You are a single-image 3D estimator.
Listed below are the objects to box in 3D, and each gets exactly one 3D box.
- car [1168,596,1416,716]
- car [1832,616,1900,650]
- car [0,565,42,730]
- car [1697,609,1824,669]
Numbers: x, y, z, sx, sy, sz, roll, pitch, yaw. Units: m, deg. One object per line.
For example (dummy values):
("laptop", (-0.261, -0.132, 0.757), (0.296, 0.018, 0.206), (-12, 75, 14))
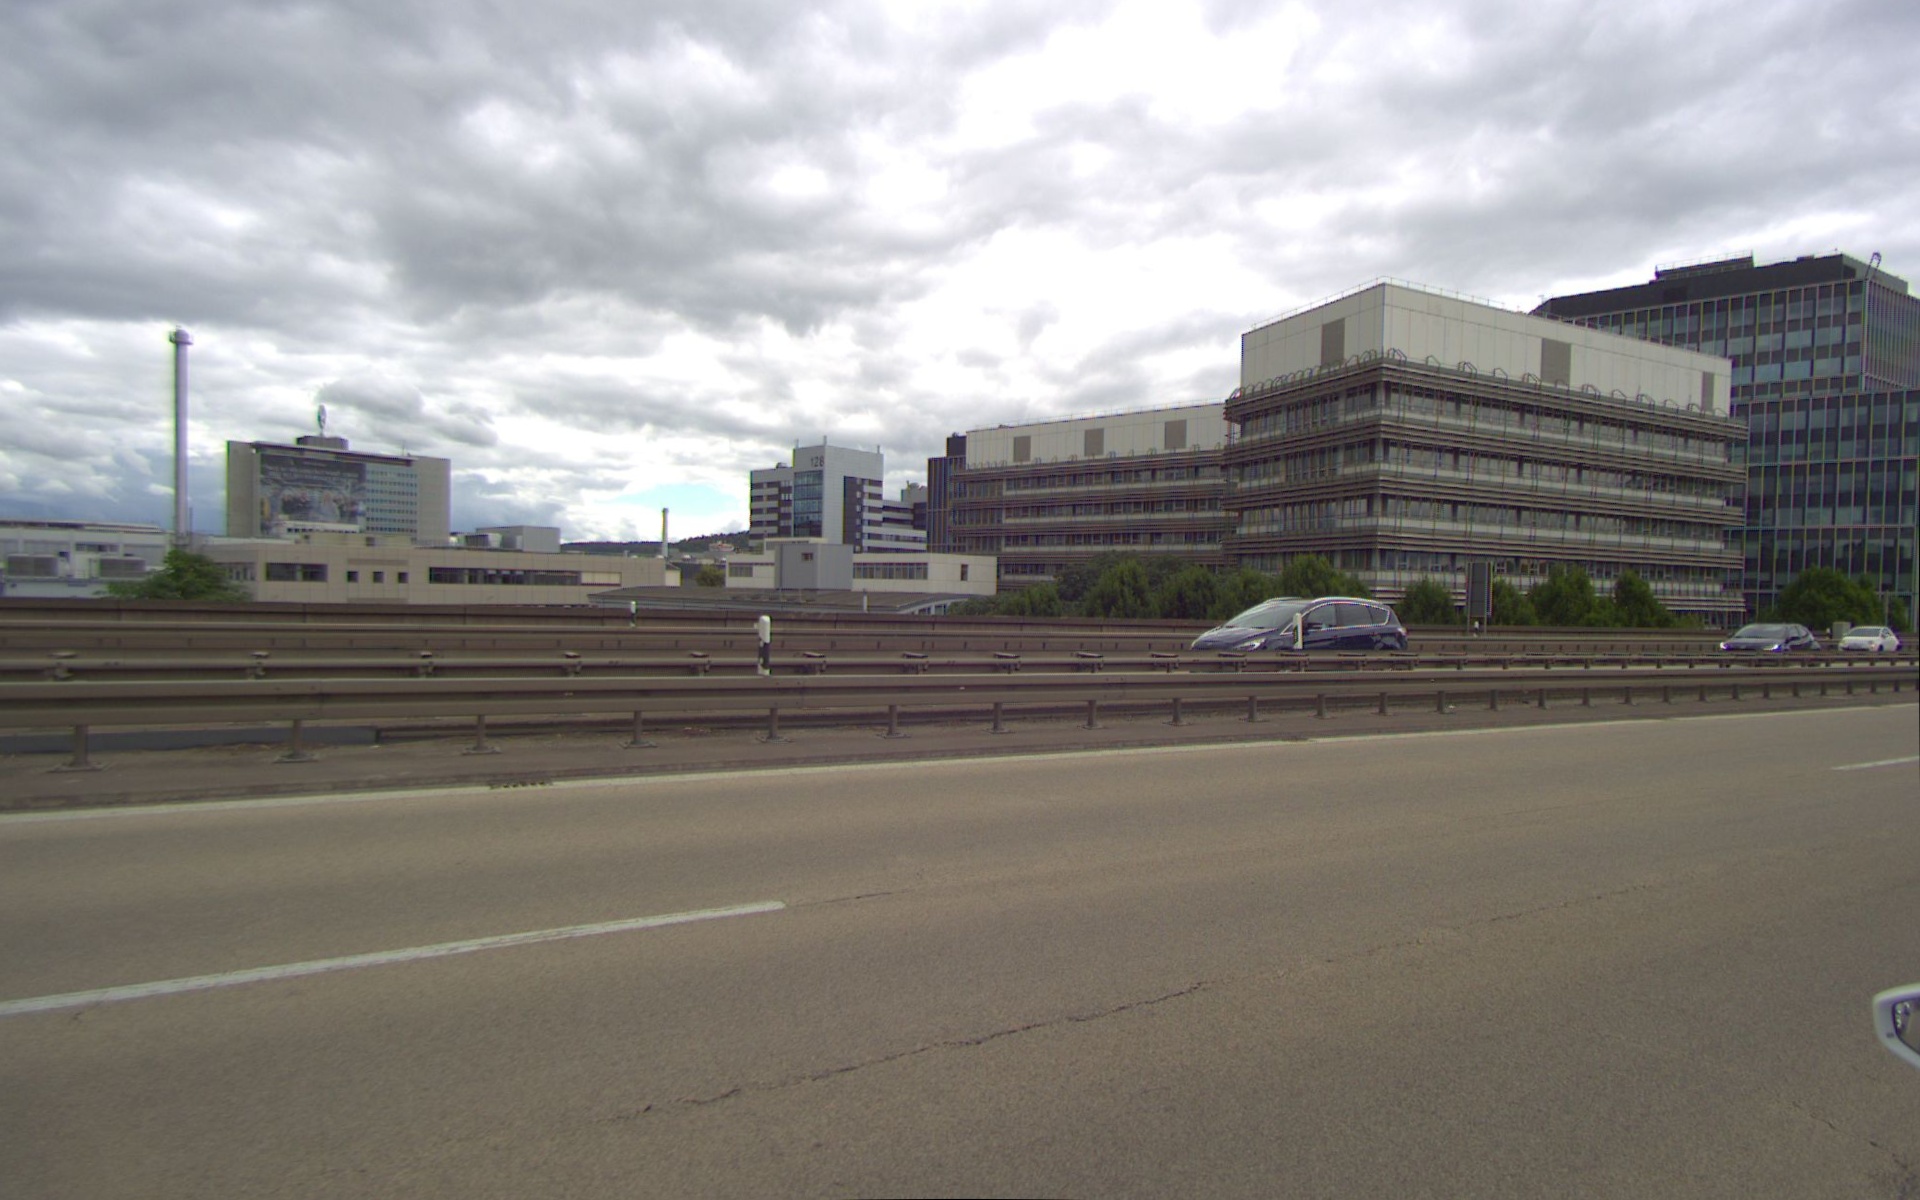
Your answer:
("car", (6.313, 1.001, 19.000), (4.497, 2.040, 1.985), (1, -1, -30))
("car", (46.001, 1.669, 50.976), (3.559, 1.683, 1.636), (1, -1, -31))
("car", (-11.097, 0.425, 8.982), (3.954, 1.581, 1.740), (1, -1, -31))
("car", (25.733, 1.228, 32.284), (3.954, 1.817, 1.983), (1, -1, -31))
